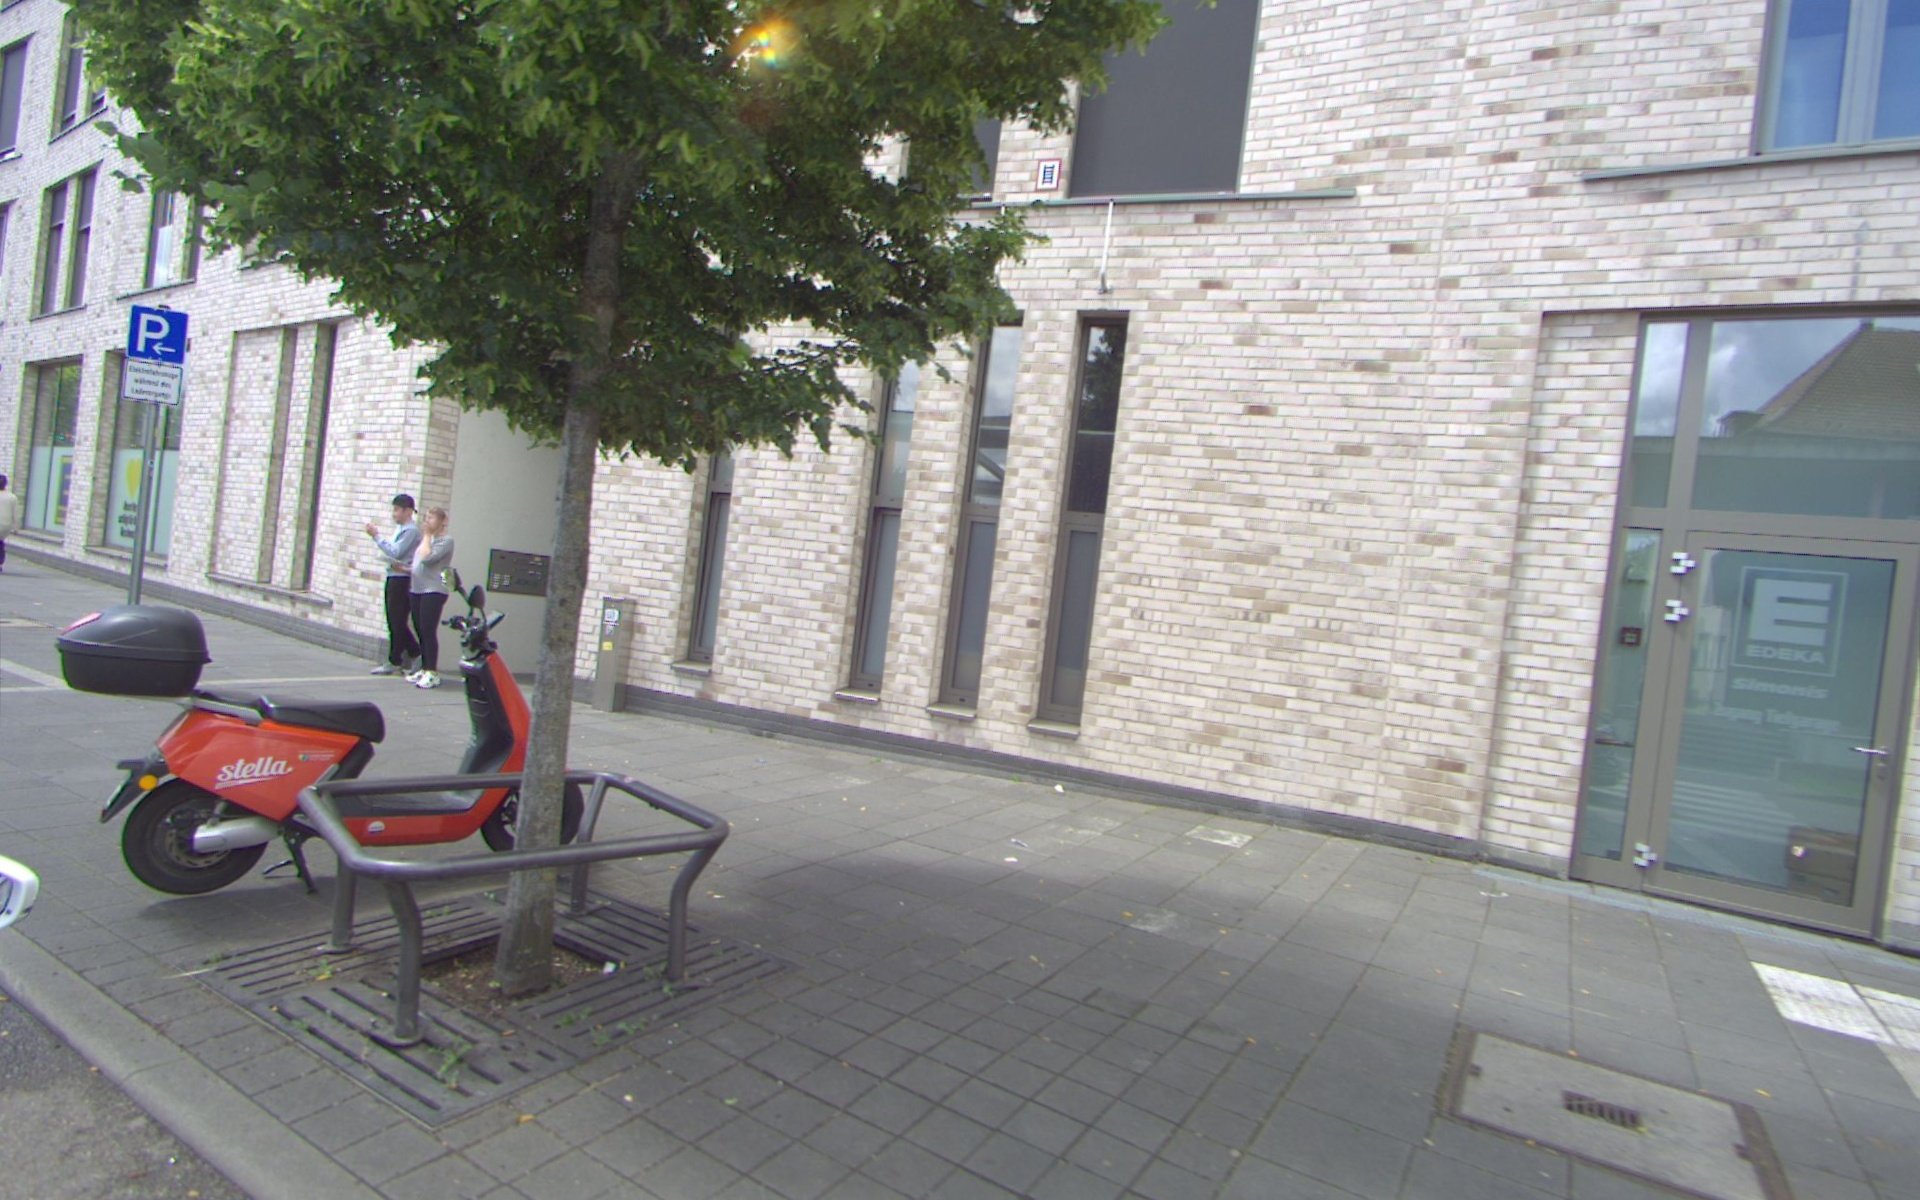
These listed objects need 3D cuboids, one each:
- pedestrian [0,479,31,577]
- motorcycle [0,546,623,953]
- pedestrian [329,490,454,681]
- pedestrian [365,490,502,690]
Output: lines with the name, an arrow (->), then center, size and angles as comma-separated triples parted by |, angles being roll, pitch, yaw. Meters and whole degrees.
pedestrian -> -15.111, -1.158, 15.776 | 0.779, 1.492, 0.606 | 8, 3, 37
motorcycle -> -2.540, 0.524, 4.117 | 2.042, 1.282, 0.664 | 4, 2, -44
pedestrian -> -5.623, -0.135, 9.971 | 0.612, 1.789, 0.737 | 6, 1, 23
pedestrian -> -5.024, -0.087, 9.633 | 0.743, 1.789, 0.735 | 6, 1, 15
